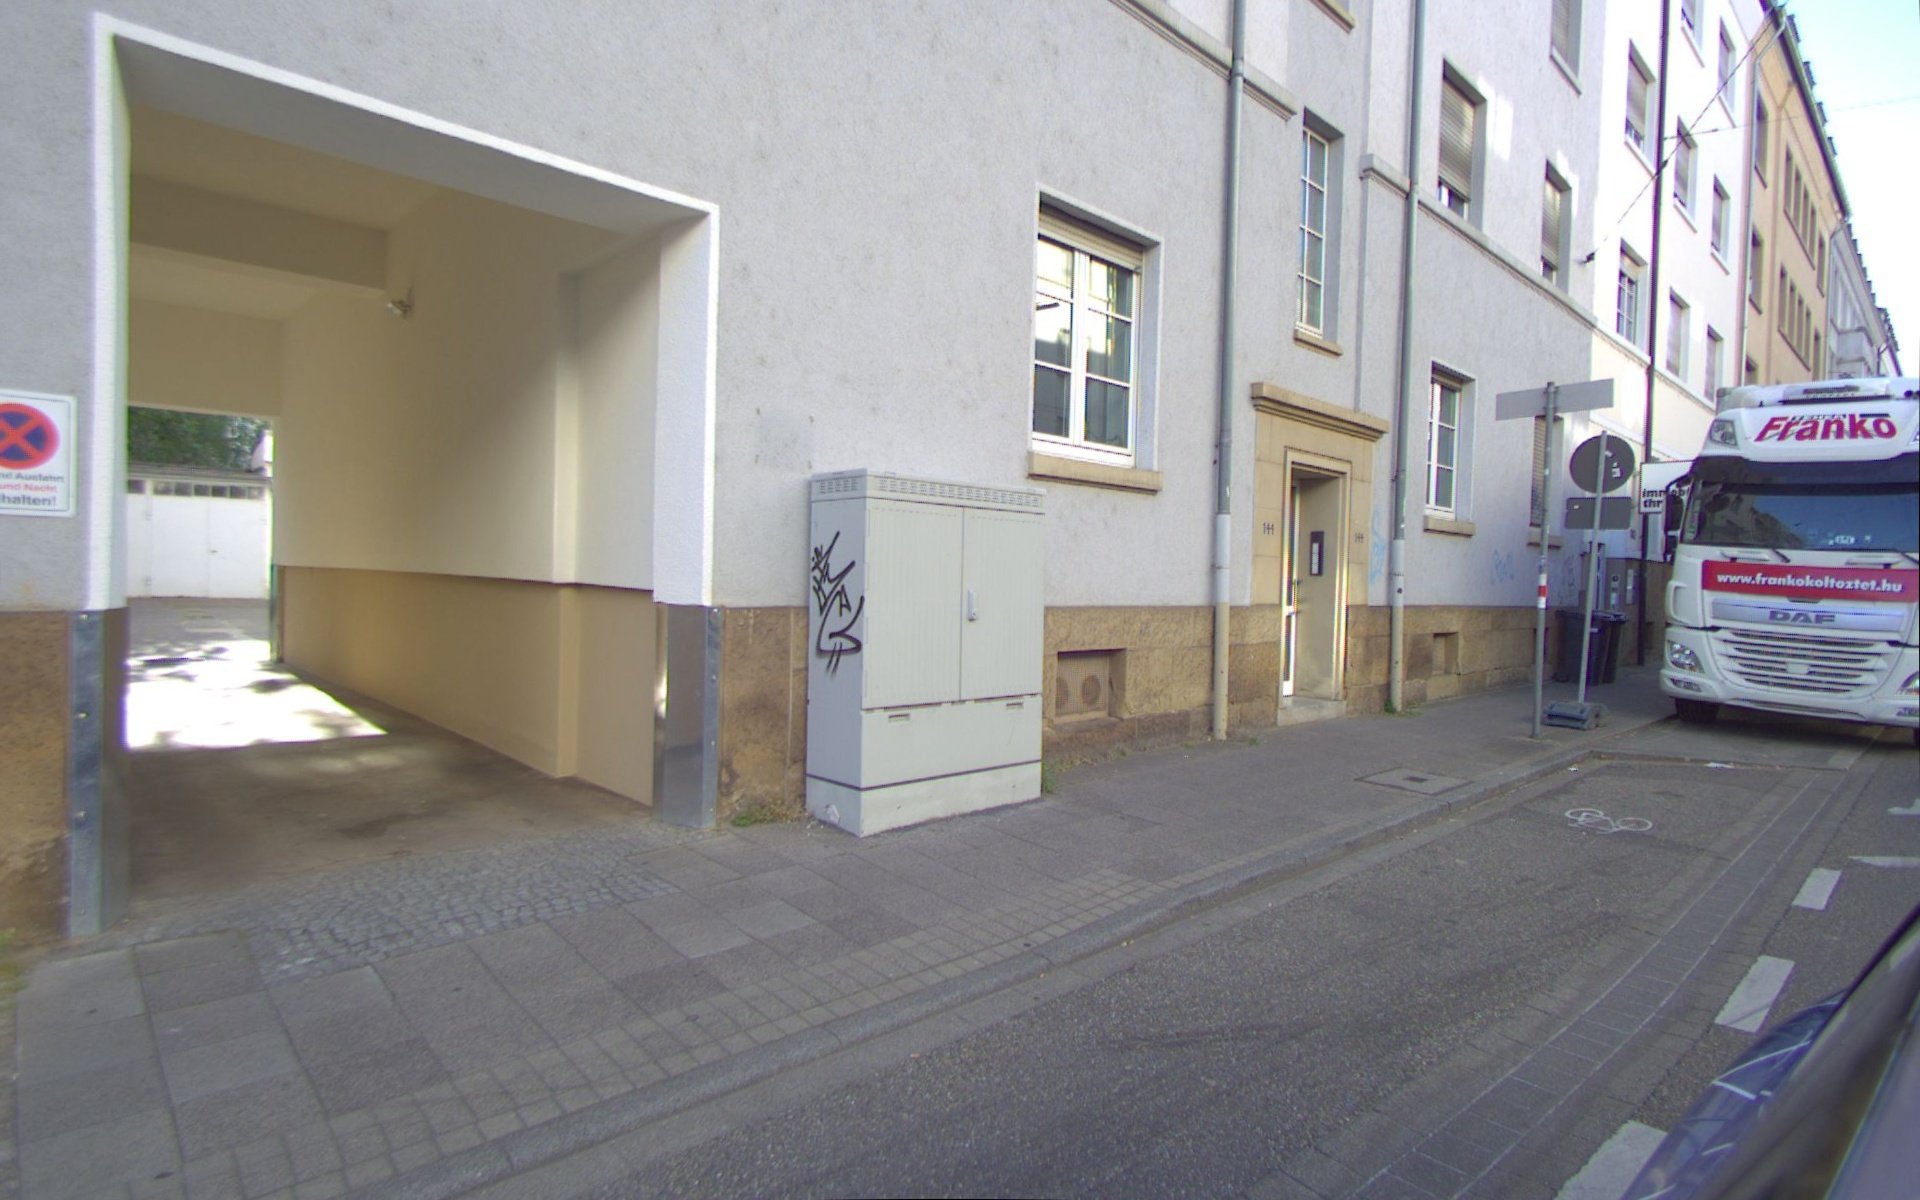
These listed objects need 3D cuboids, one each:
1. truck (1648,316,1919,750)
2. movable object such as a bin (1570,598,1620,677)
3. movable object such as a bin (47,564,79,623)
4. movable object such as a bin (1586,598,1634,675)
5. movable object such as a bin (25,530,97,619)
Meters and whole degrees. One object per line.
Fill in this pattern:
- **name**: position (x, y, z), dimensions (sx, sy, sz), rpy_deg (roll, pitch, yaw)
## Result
- **truck**: position (12.557, -0.614, 13.828), dimensions (11.511, 4.012, 2.894), rpy_deg (0, 0, -44)
- **movable object such as a bin**: position (9.169, 0.522, 14.609), dimensions (0.511, 1.106, 0.488), rpy_deg (0, 0, 45)
- **movable object such as a bin**: position (-14.358, -0.112, 16.199), dimensions (0.366, 0.919, 0.420), rpy_deg (0, 3, -44)
- **movable object such as a bin**: position (9.618, 0.523, 14.968), dimensions (0.511, 1.106, 0.488), rpy_deg (0, 0, 45)
- **movable object such as a bin**: position (-14.880, -0.427, 16.751), dimensions (0.874, 1.409, 0.758), rpy_deg (0, 4, -44)
